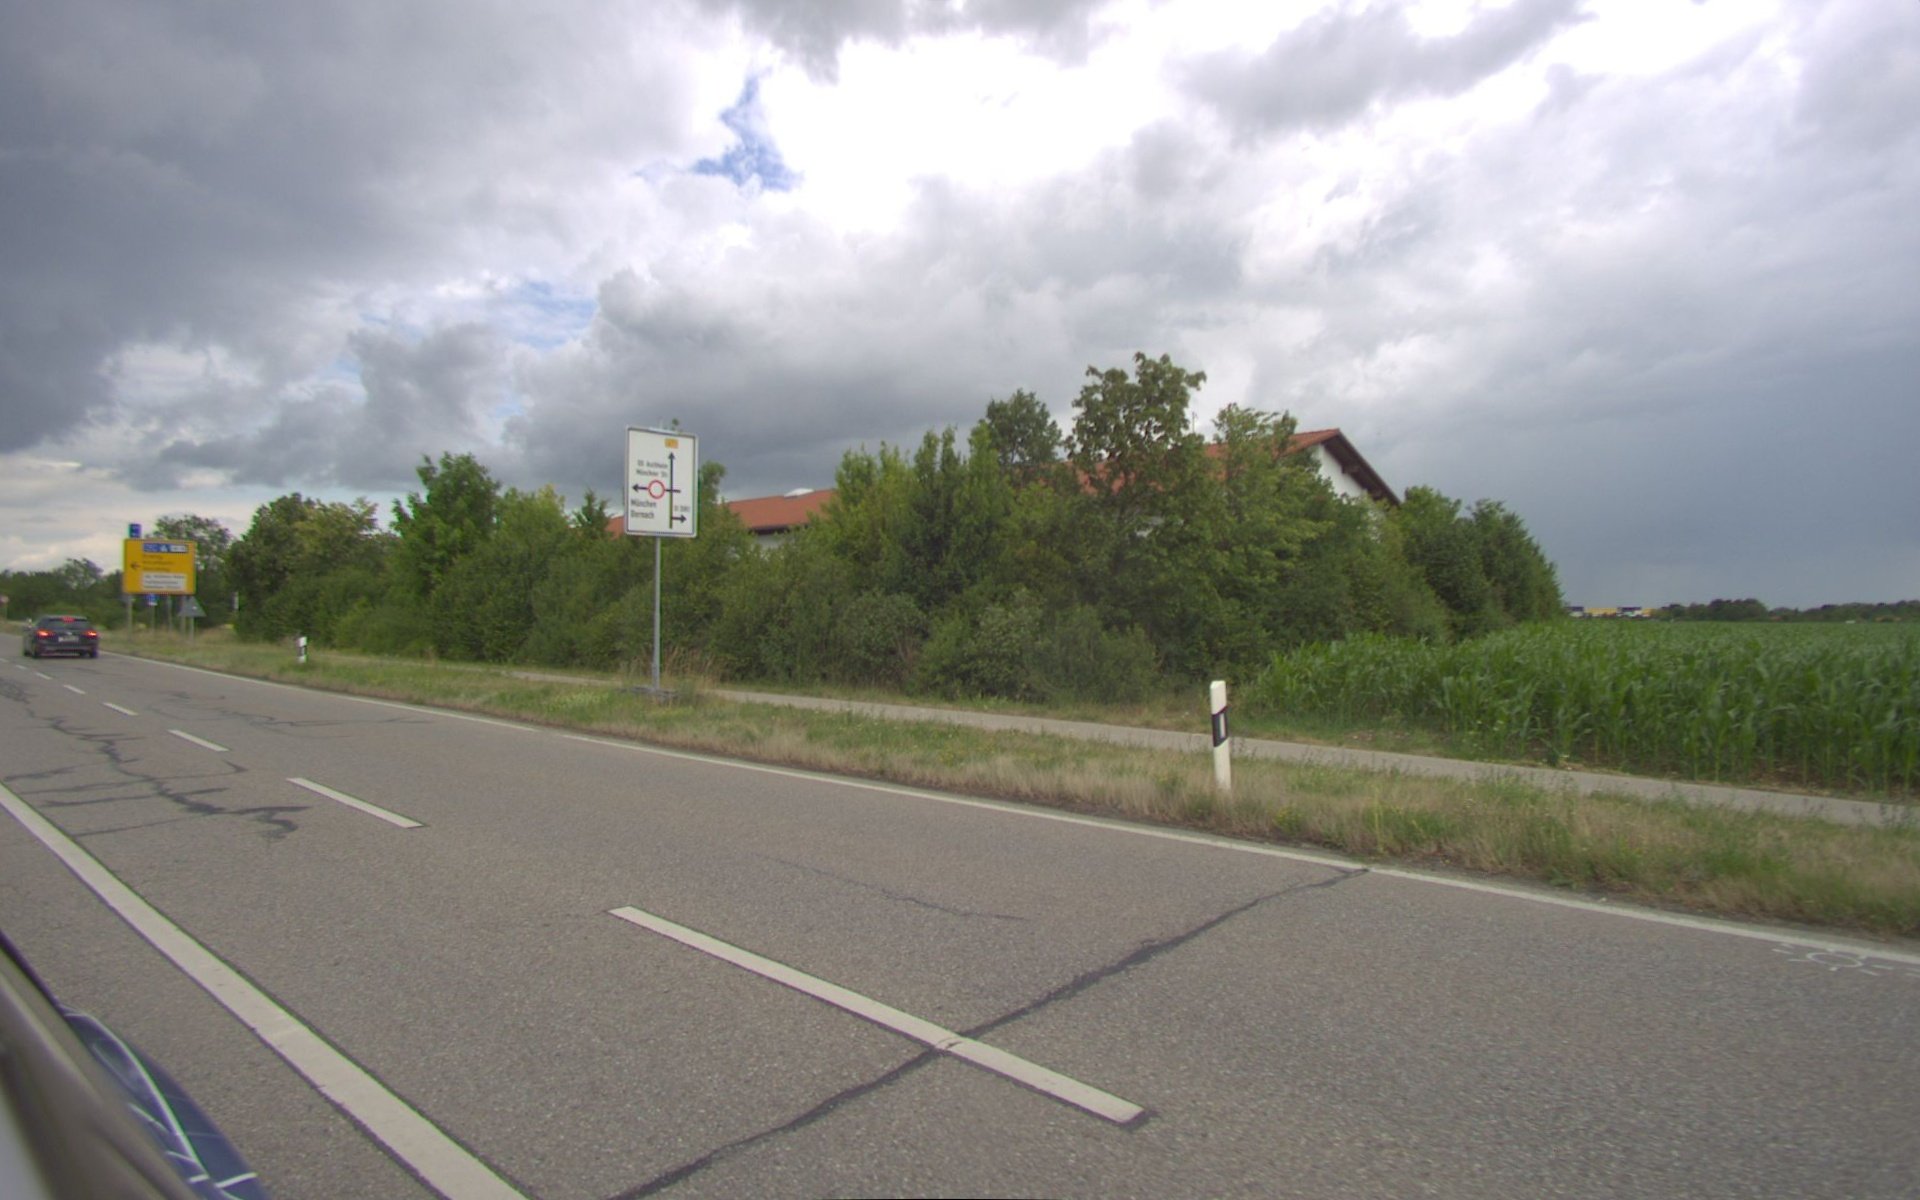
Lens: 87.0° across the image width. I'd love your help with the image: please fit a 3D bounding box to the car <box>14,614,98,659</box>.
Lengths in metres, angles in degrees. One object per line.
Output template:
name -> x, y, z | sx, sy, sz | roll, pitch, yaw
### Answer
car -> -31.345, 1.253, 35.062 | 4.301, 1.440, 1.651 | 0, -2, 42
